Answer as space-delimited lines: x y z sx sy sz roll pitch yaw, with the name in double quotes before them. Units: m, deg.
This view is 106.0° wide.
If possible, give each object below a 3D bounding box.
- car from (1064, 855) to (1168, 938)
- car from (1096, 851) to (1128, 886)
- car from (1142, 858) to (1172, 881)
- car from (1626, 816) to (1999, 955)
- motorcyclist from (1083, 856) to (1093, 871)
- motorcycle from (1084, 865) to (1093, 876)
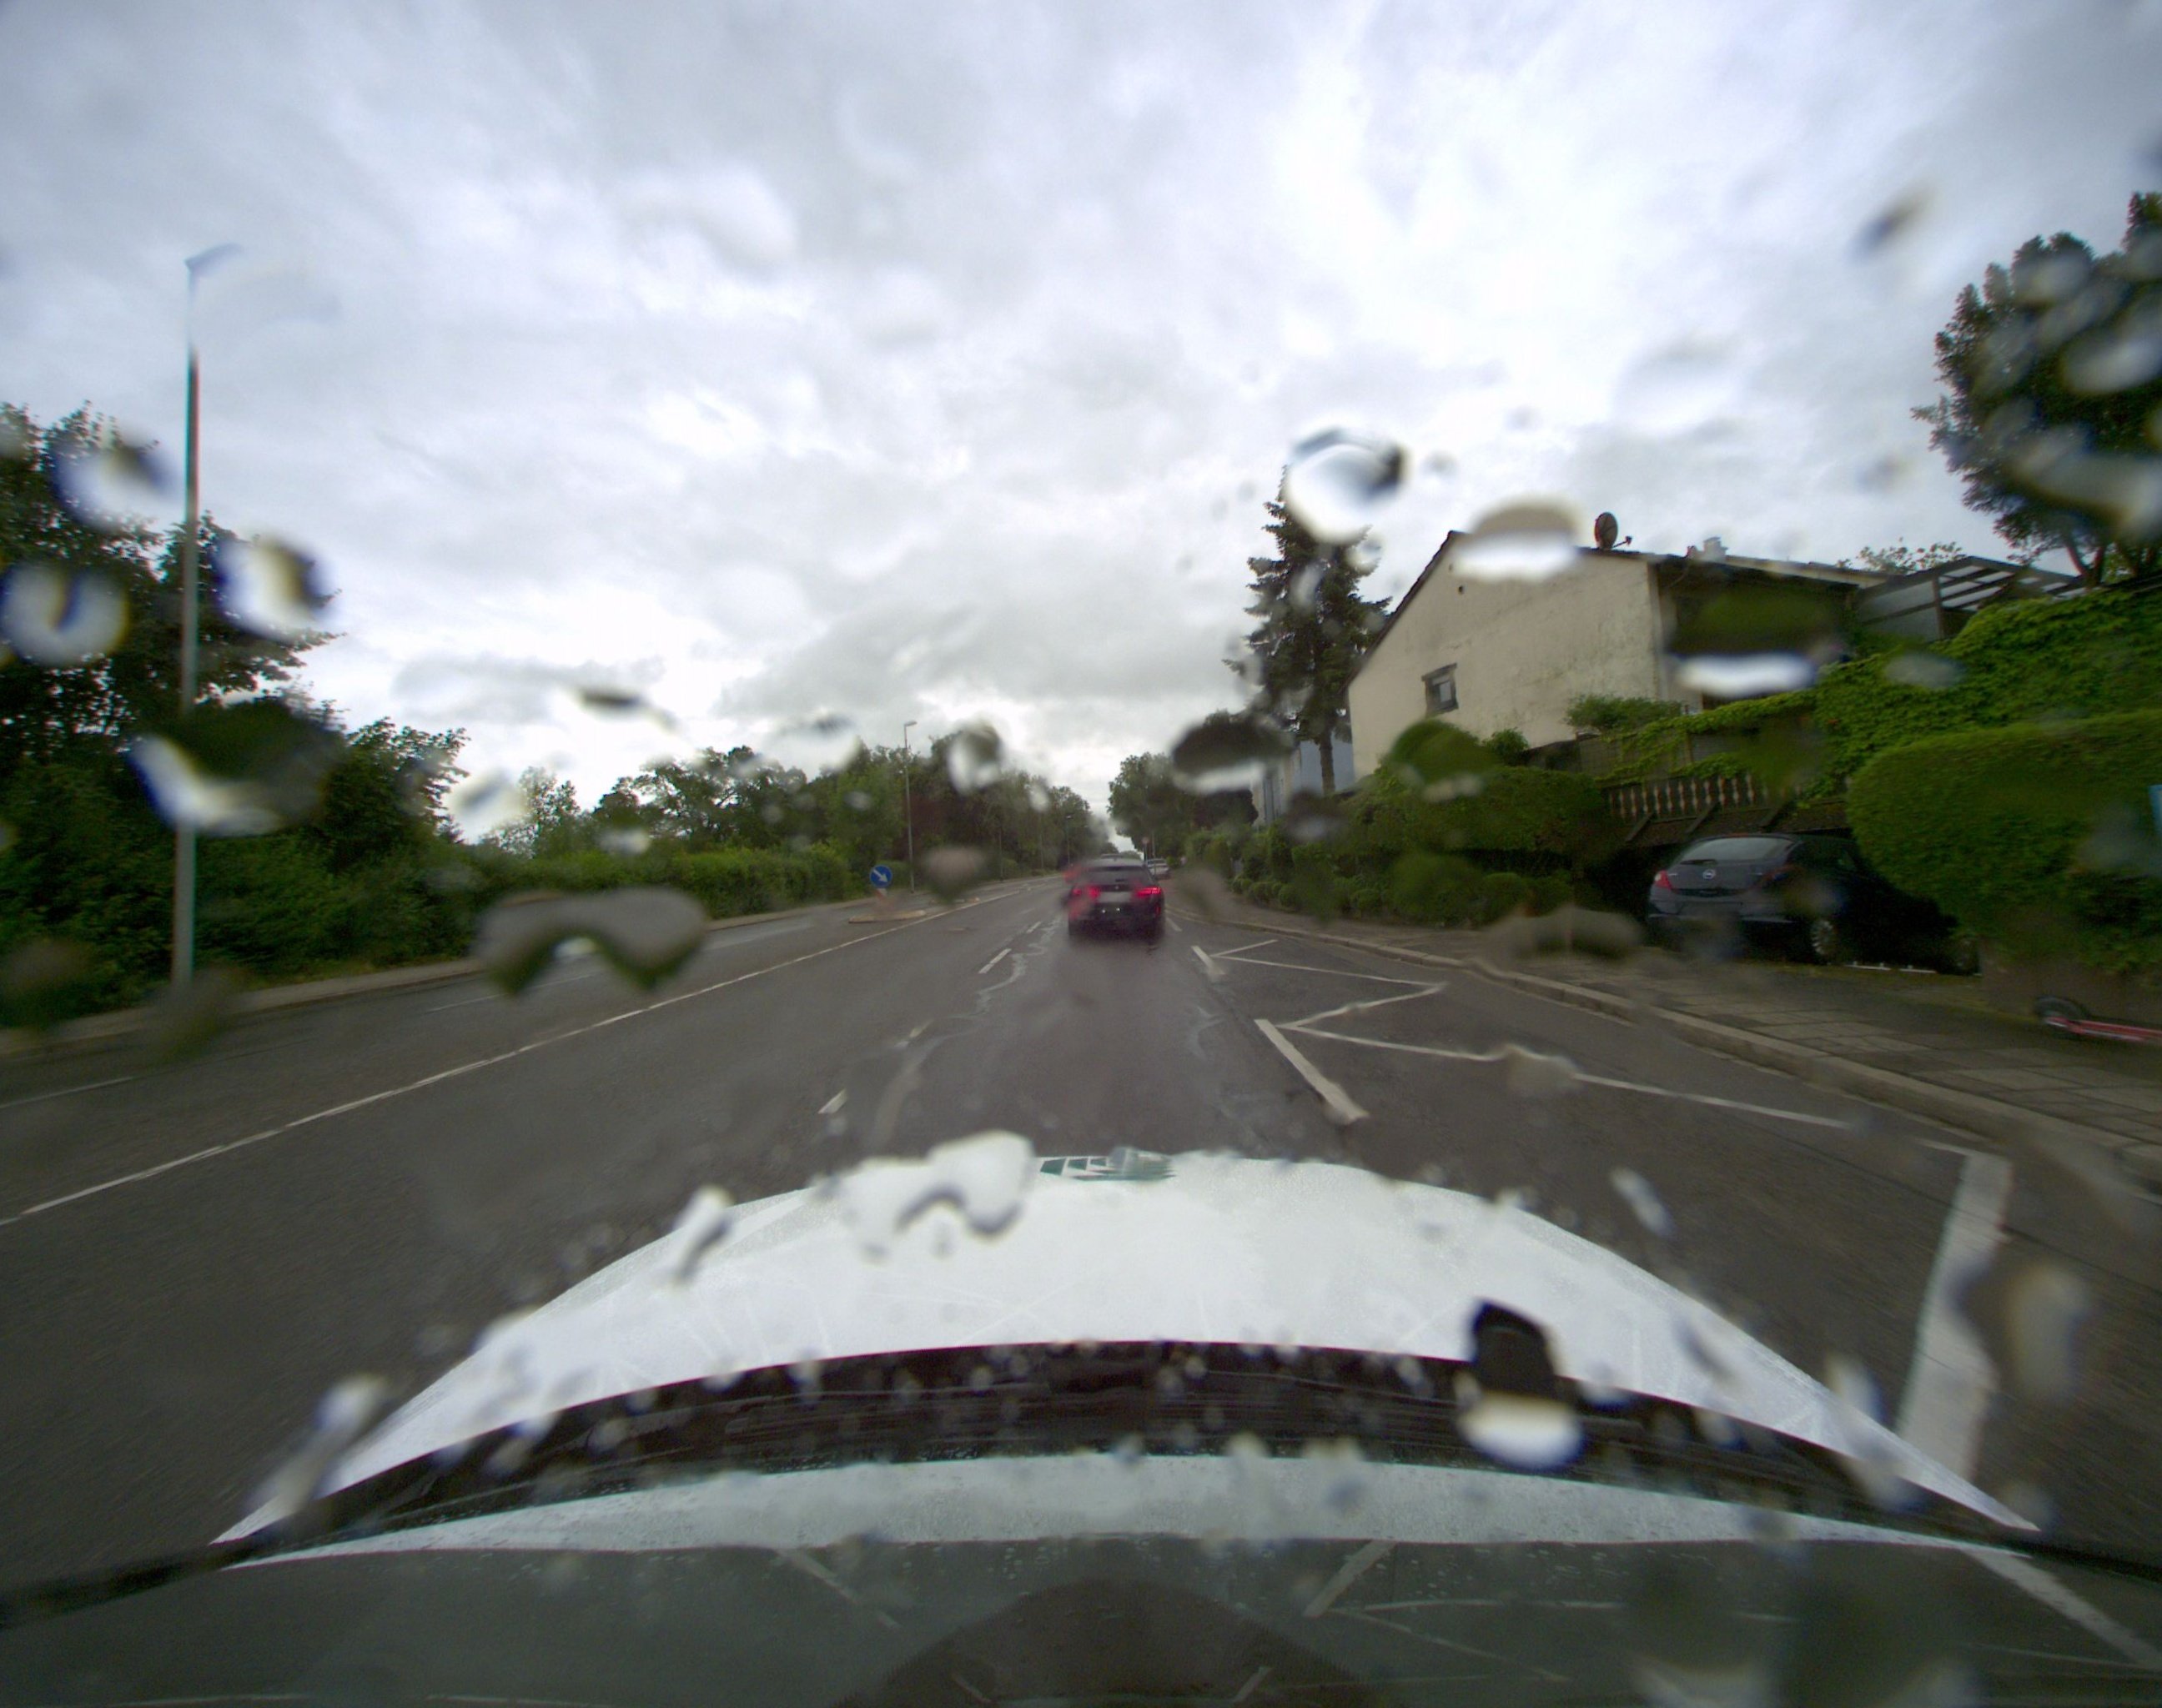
"car" 0.742 0.789 16.818 1.889 1.489 4.003 -1 0 3
"car" 1.735 0.775 45.883 1.623 1.833 4.002 -3 0 2
"car" 5.320 1.065 57.284 1.927 1.442 4.413 -3 0 4
"car" 8.647 0.423 9.680 3.707 1.298 1.761 4 -3 -20
"motorcyclist" 0.763 0.999 87.639 1.035 1.567 0.855 -1 -1 1
"motorcycle" 0.774 1.742 87.536 0.872 1.124 2.742 -1 -1 2
